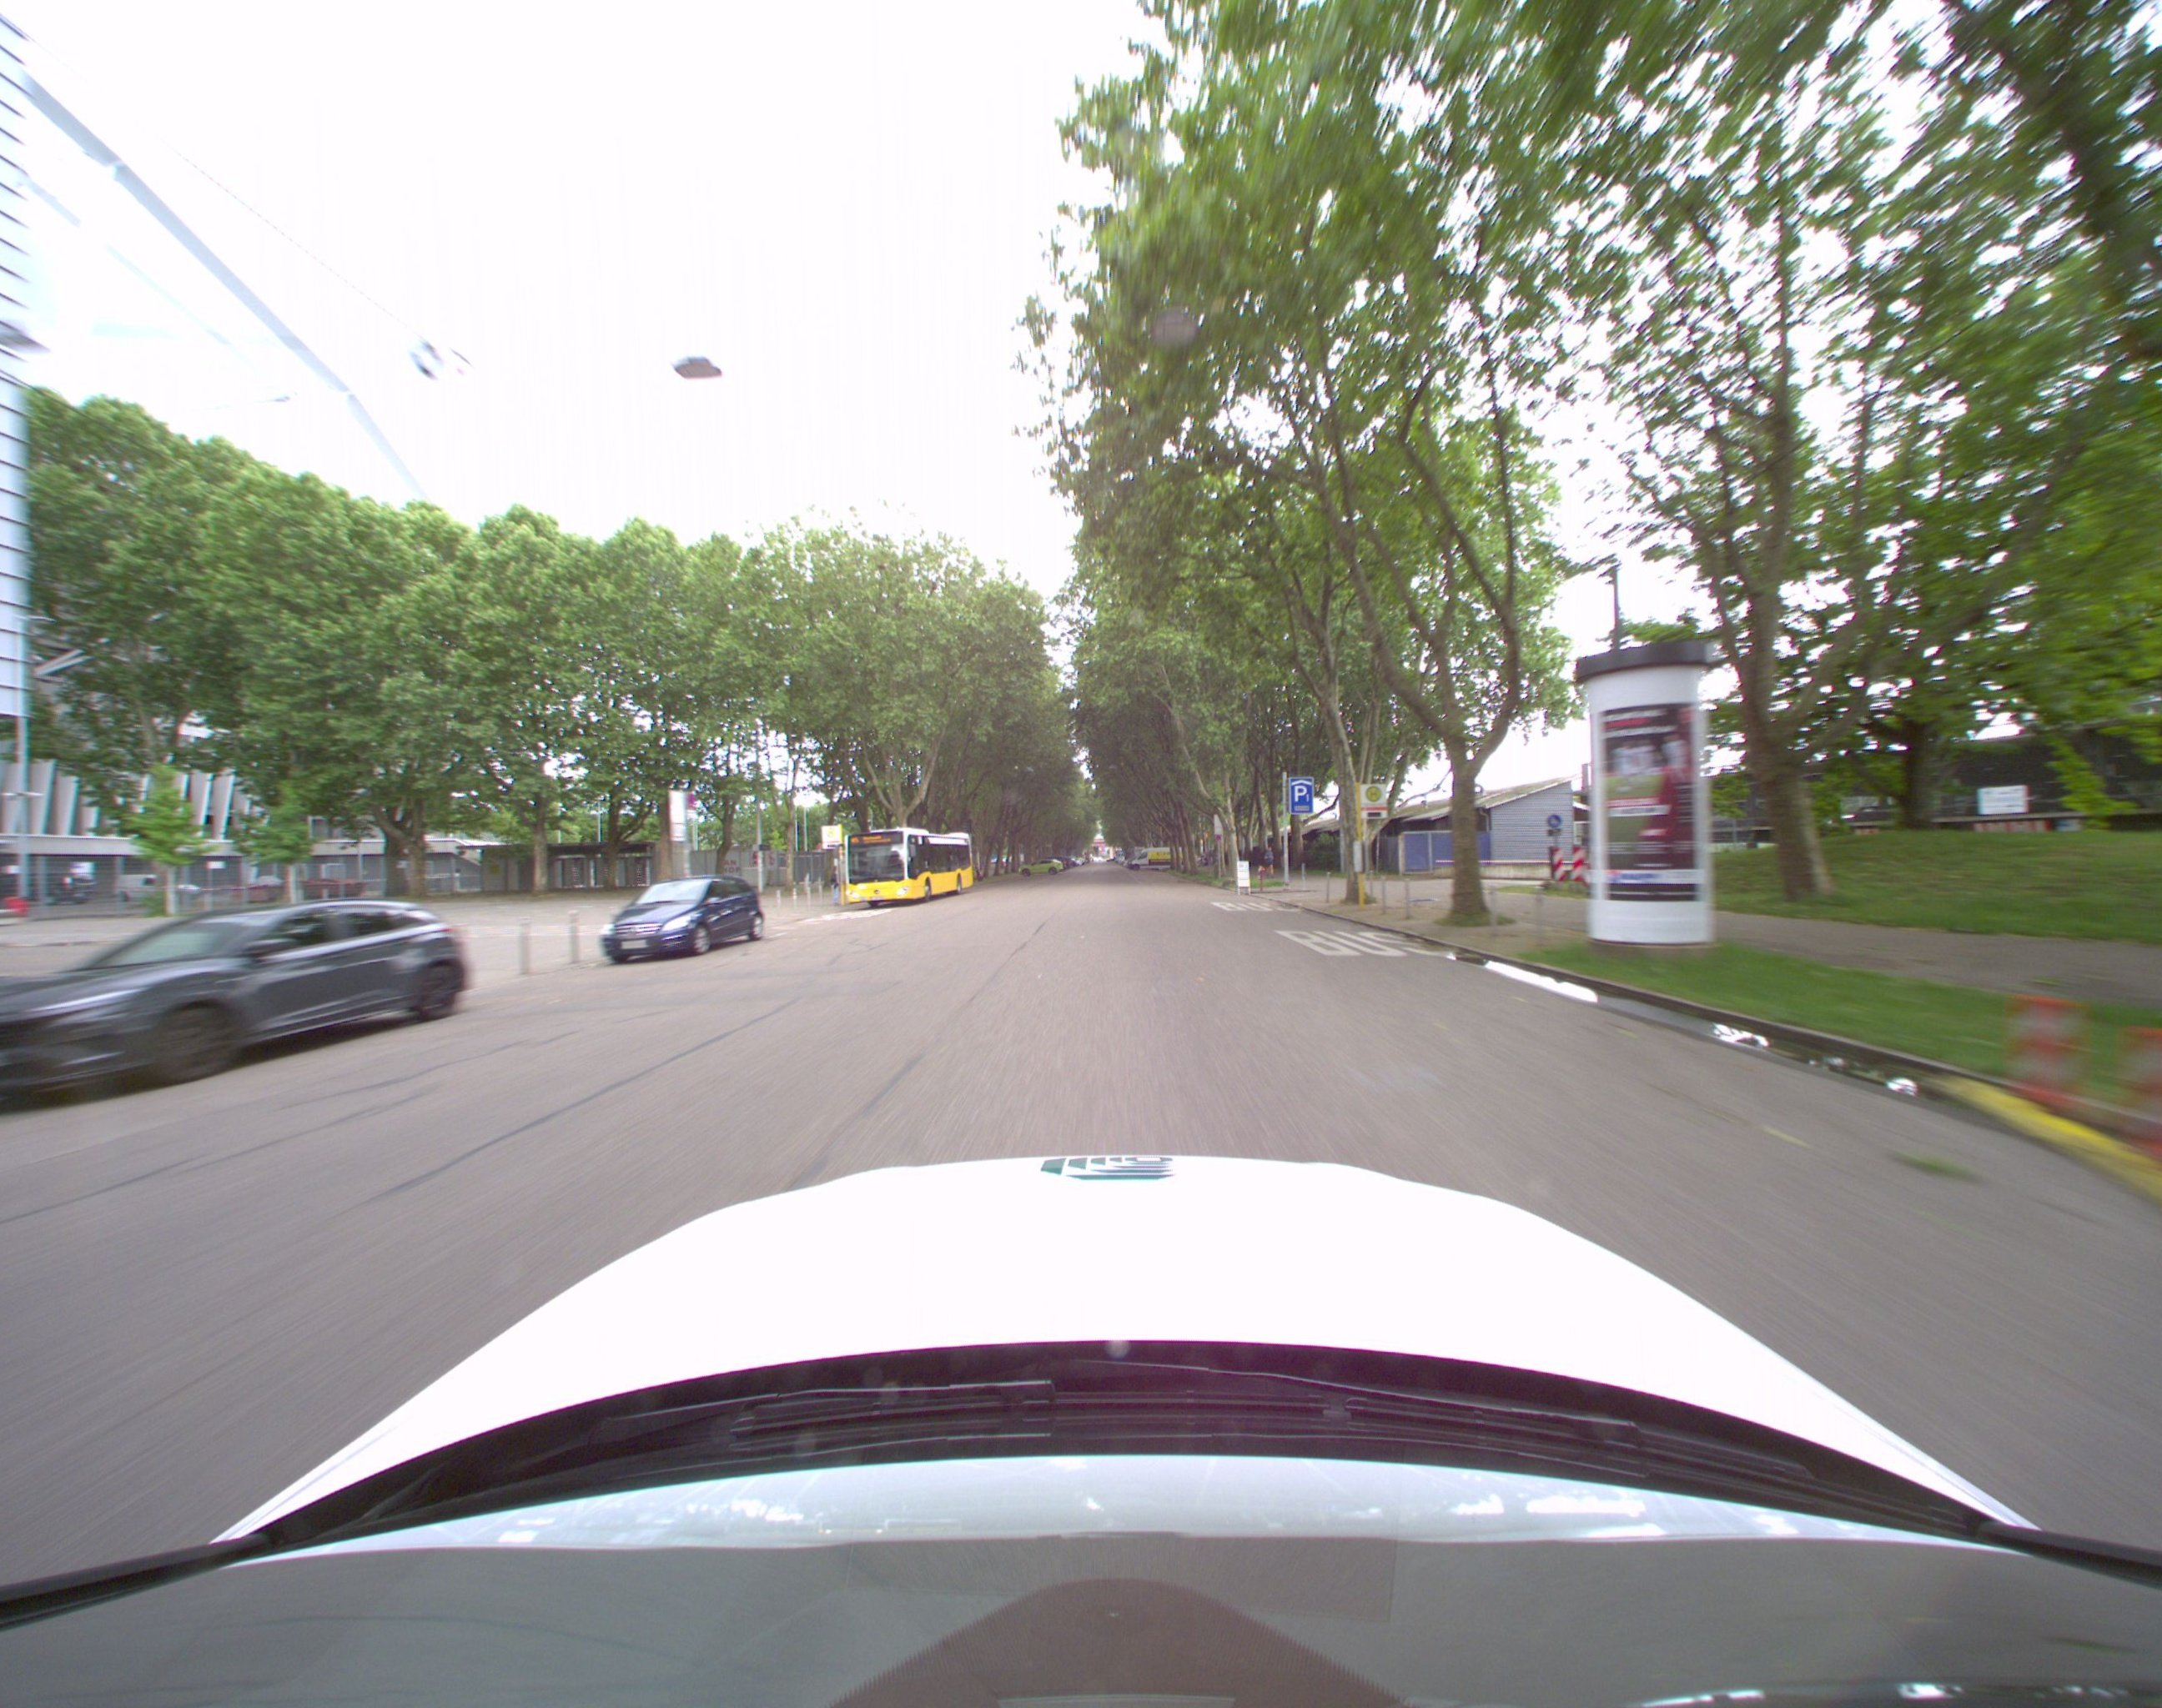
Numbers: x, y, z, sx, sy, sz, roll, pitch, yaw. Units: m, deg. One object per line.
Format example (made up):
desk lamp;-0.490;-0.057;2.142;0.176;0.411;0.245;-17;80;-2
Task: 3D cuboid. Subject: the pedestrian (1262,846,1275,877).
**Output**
pedestrian;11.541;0.461;50.098;0.572;1.888;0.615;-2;0;-7

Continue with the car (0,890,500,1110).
car;-8.730;1.281;8.550;1.851;1.453;4.451;-5;0;2

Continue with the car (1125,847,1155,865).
car;8.076;0.337;111.604;3.973;2.339;1.543;-2;0;0

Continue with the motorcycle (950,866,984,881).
motorcycle;-9.121;1.544;65.393;2.602;1.123;0.698;-2;0;-22

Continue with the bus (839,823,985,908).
bus;-7.396;0.461;38.376;3.024;3.160;12.694;-4;0;5

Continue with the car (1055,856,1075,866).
car;-3.227;1.510;168.779;3.972;2.013;2.001;-2;0;2

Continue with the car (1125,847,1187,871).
car;8.566;0.518;93.494;6.802;2.513;2.316;-2;0;-1

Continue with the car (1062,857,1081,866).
car;-2.167;1.759;186.094;3.968;2.013;1.828;-2;0;4

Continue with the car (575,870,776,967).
car;-8.393;1.249;17.358;1.986;1.584;4.115;-5;0;2

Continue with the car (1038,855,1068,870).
car;-3.529;1.073;103.543;3.768;1.794;1.543;-2;0;1

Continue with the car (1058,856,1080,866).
car;-2.148;1.257;146.743;3.643;1.742;1.509;-2;0;4

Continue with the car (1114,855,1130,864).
car;9.899;1.338;197.324;3.972;1.861;1.638;-2;0;2

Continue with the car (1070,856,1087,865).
car;-0.507;1.611;197.750;3.972;1.970;2.001;-2;0;2

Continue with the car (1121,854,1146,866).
car;8.461;0.909;132.196;3.973;1.794;1.543;-2;0;0

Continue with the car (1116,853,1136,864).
car;8.097;0.820;146.774;3.609;1.794;1.543;-2;0;1

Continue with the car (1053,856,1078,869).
car;-2.401;1.302;127.594;3.643;1.863;1.626;-2;0;4

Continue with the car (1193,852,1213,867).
car;14.596;0.672;97.571;1.986;1.772;4.002;-2;0;2

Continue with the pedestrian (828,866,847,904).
pedestrian;-10.569;1.345;35.361;0.670;1.603;0.606;-1;-1;-24

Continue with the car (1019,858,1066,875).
car;-3.929;1.283;83.757;4.681;1.584;1.865;-2;0;2

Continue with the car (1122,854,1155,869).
car;7.135;0.939;100.973;3.973;1.794;1.543;-2;0;0
